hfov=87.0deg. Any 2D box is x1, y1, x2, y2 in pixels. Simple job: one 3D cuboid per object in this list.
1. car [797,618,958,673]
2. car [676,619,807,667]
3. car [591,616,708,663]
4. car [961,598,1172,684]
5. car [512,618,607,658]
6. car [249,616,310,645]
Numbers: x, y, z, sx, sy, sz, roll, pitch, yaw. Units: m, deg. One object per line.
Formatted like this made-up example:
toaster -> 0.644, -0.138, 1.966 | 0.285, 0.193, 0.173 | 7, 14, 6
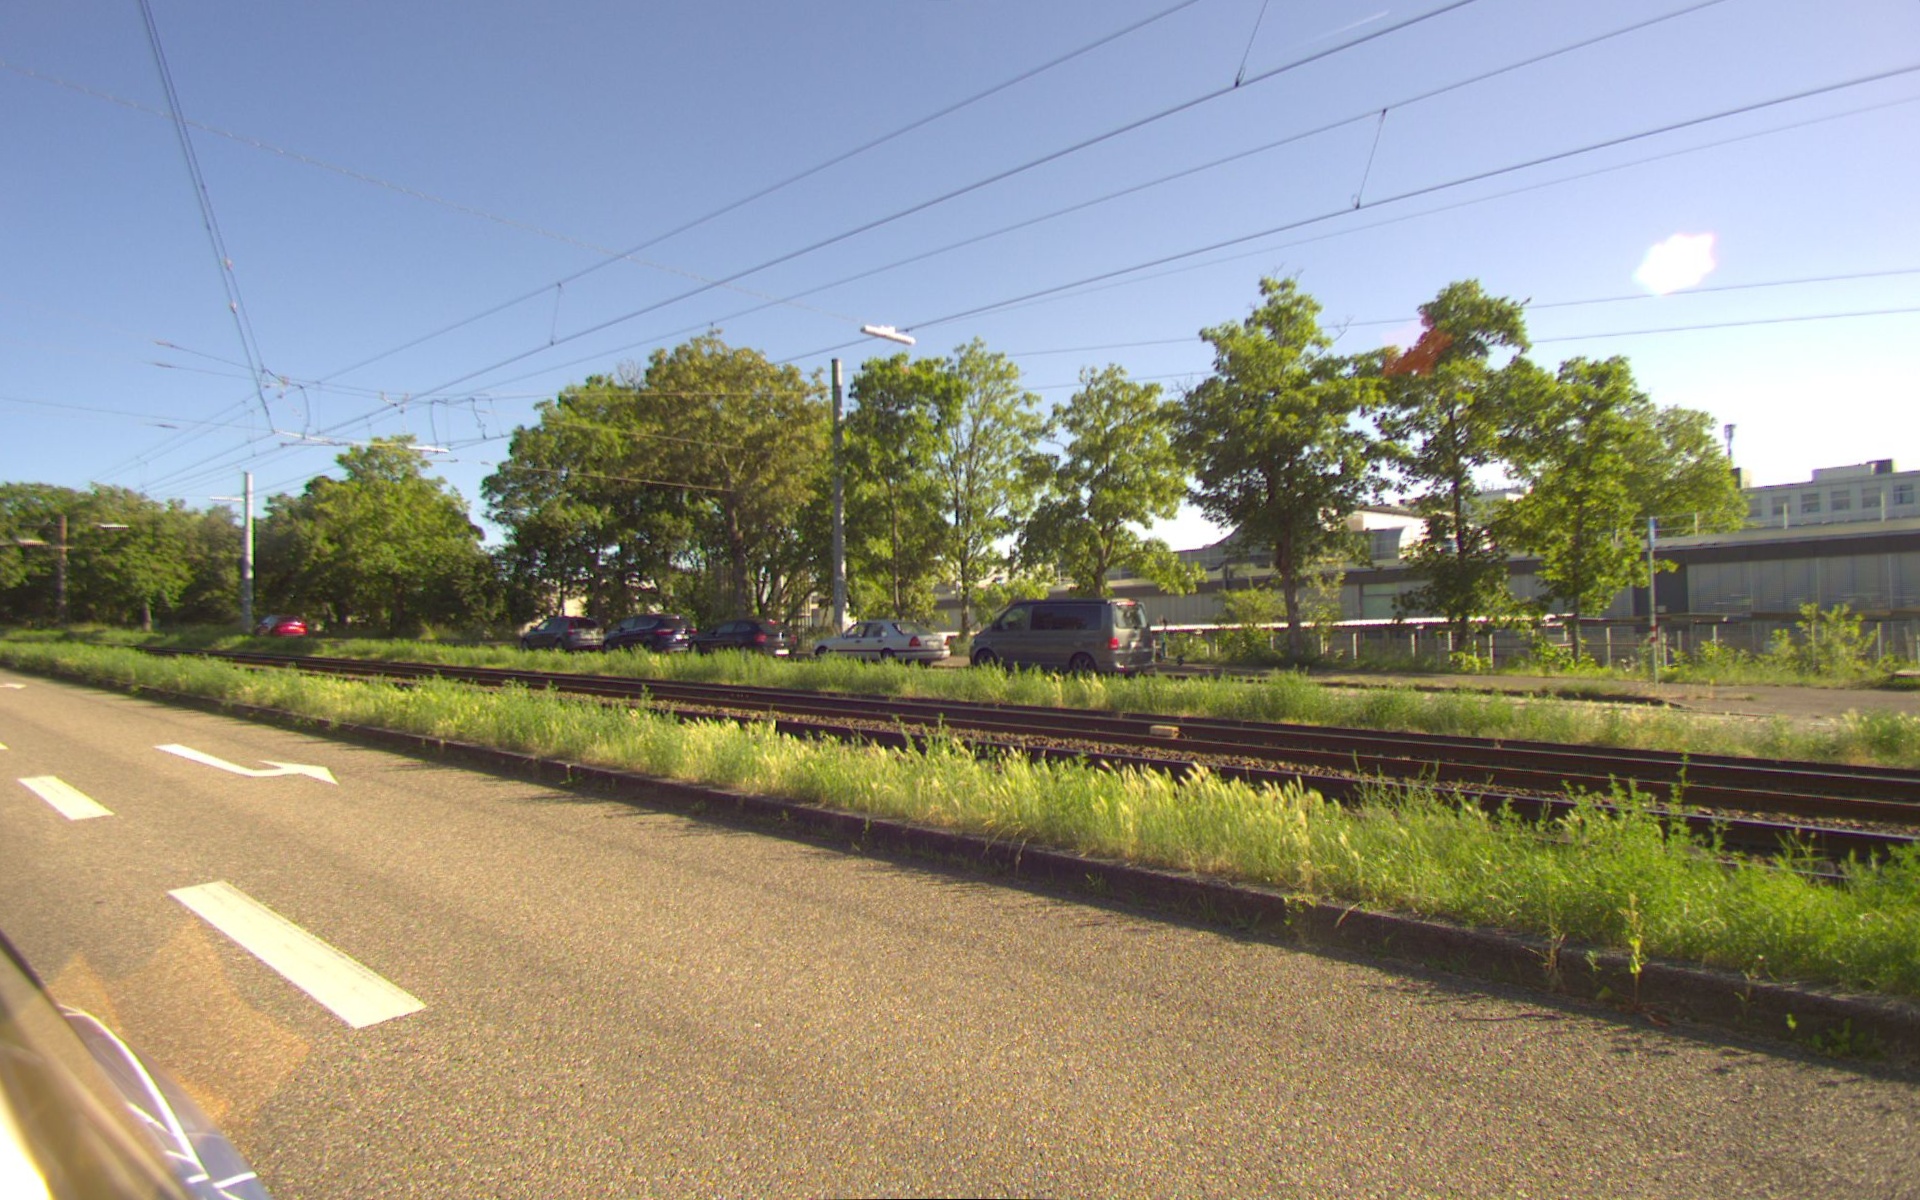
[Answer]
car -> -2.458, 1.287, 29.198 | 4.692, 1.448, 1.908 | -2, -1, 41
car -> -7.234, 1.402, 33.303 | 4.412, 1.448, 1.973 | -2, -1, 41
car -> -11.321, 1.405, 36.767 | 4.430, 1.586, 1.974 | -2, -1, 39
car -> 2.526, 0.965, 24.788 | 4.791, 1.905, 2.173 | -2, -1, 43
car -> -16.342, 1.523, 41.212 | 4.323, 1.505, 1.718 | -1, 0, 39
car -> -42.197, 1.879, 62.759 | 4.462, 1.715, 1.984 | -1, -1, 40
